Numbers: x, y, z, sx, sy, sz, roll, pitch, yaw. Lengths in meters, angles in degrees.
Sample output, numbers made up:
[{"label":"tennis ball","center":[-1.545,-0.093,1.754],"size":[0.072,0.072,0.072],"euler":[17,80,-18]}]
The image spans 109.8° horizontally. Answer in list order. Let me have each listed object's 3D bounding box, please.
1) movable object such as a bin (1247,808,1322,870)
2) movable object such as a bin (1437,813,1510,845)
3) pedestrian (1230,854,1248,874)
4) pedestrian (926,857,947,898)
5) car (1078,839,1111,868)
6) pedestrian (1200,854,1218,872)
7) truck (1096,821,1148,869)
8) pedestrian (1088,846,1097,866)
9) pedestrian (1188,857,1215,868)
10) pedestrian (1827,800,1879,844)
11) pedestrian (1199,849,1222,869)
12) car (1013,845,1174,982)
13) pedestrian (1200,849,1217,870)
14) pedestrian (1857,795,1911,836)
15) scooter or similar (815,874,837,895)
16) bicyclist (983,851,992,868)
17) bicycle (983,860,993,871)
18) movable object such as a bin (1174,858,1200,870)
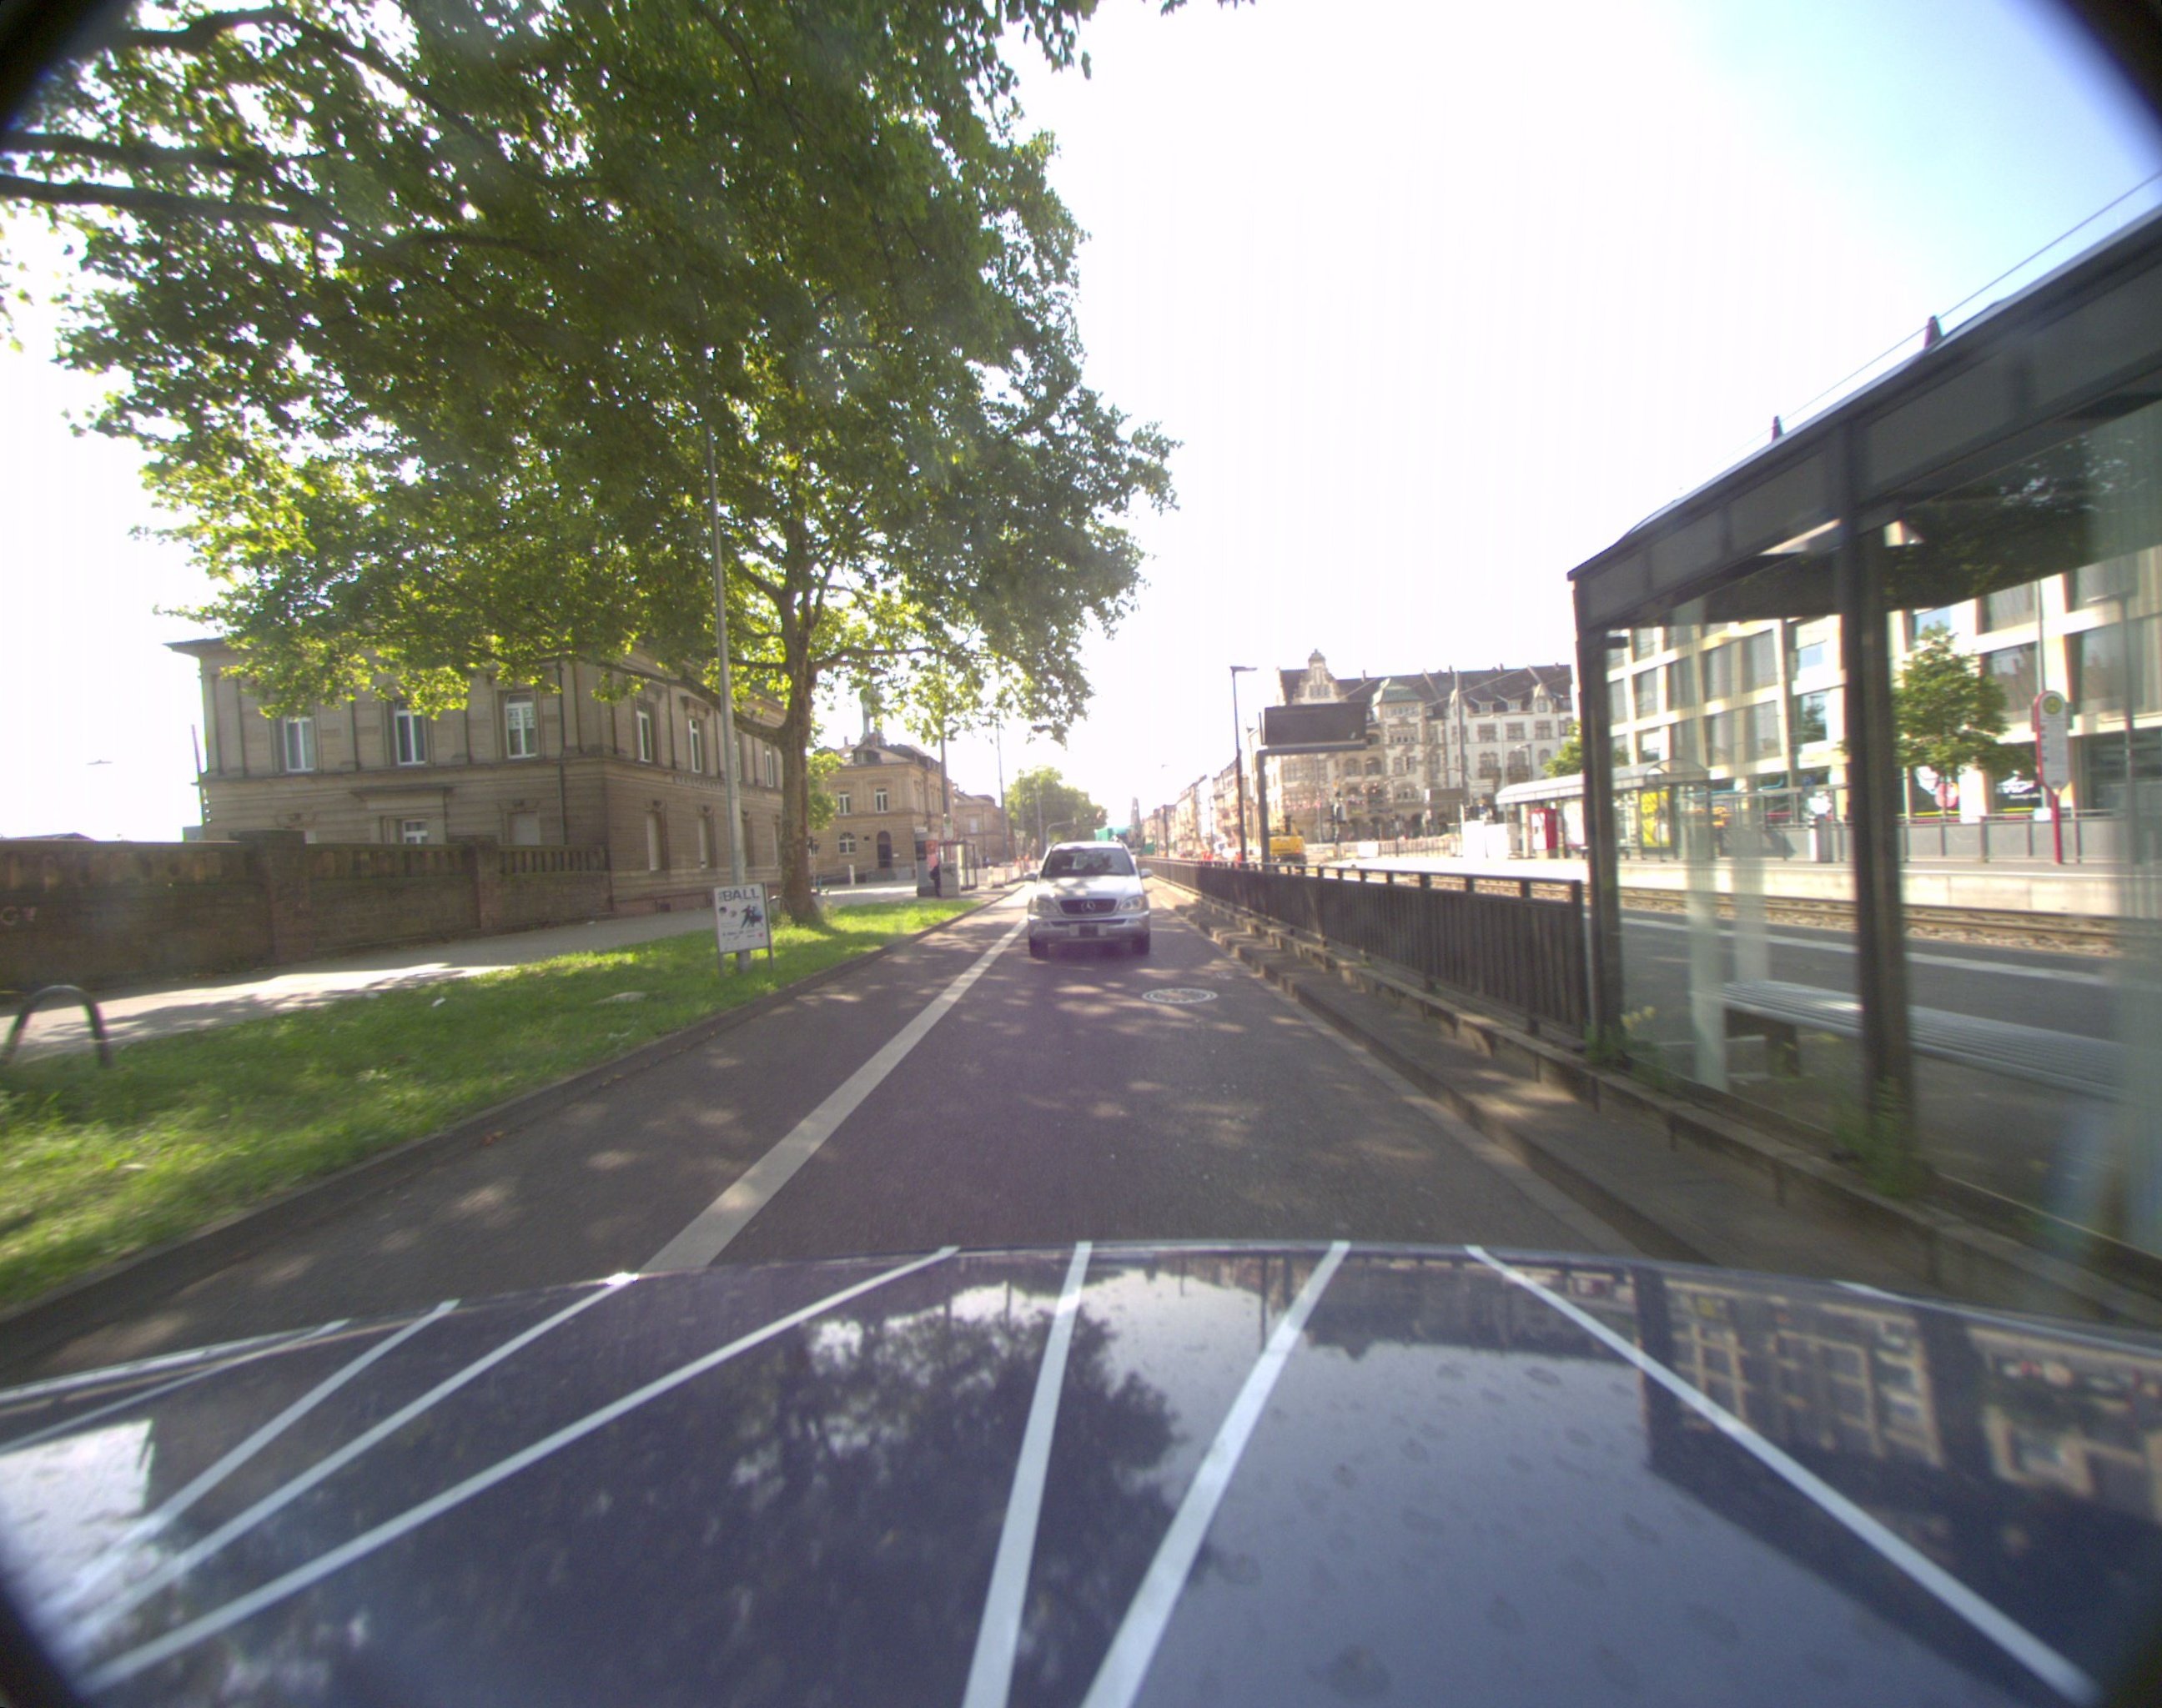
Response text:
[{"label":"movable object such as a bin","center":[14.966,-1.083,55.306],"size":[3.507,3.989,9.055],"euler":[-3,0,25]},{"label":"movable object such as a bin","center":[37.031,-2.342,71.824],"size":[5.626,2.723,2.135],"euler":[-3,1,1]},{"label":"pedestrian","center":[10.343,0.652,49.782],"size":[1.017,1.299,0.983],"euler":[-3,0,5]},{"label":"pedestrian","center":[-6.153,0.993,32.364],"size":[0.690,1.687,0.648],"euler":[-3,1,-20]},{"label":"car","center":[1.317,-0.020,76.152],"size":[2.232,2.713,5.166],"euler":[-3,0,-10]},{"label":"pedestrian","center":[8.928,0.645,52.935],"size":[0.983,1.183,0.800],"euler":[-3,0,25]},{"label":"truck","center":[3.355,-0.658,64.521],"size":[2.682,3.657,8.209],"euler":[-3,0,-8]},{"label":"pedestrian","center":[1.164,0.190,77.748],"size":[0.735,2.002,0.907],"euler":[-3,1,7]},{"label":"pedestrian","center":[8.725,0.604,55.069],"size":[1.906,0.632,0.913],"euler":[-3,0,5]},{"label":"pedestrian","center":[32.240,-1.330,31.735],"size":[0.978,1.742,1.123],"euler":[-3,1,1]},{"label":"pedestrian","center":[8.777,0.334,51.545],"size":[1.313,1.299,0.800],"euler":[-3,0,25]},{"label":"car","center":[0.229,0.768,12.490],"size":[1.998,1.686,5.225],"euler":[-3,0,1]},{"label":"pedestrian","center":[8.505,0.362,50.658],"size":[0.838,1.299,0.800],"euler":[-3,0,25]},{"label":"pedestrian","center":[33.295,-1.595,31.528],"size":[0.978,1.588,1.123],"euler":[-3,1,1]},{"label":"scooter or similar","center":[-15.261,1.826,45.505],"size":[0.421,1.202,1.257],"euler":[-3,-2,24]},{"label":"bicyclist","center":[-8.654,0.511,70.419],"size":[0.719,1.534,0.955],"euler":[-3,0,-1]},{"label":"bicycle","center":[-8.623,1.062,70.352],"size":[0.719,1.036,1.903],"euler":[-3,0,-1]},{"label":"movable object such as a bin","center":[6.990,0.660,49.978],"size":[1.507,0.649,0.702],"euler":[-3,0,22]}]
